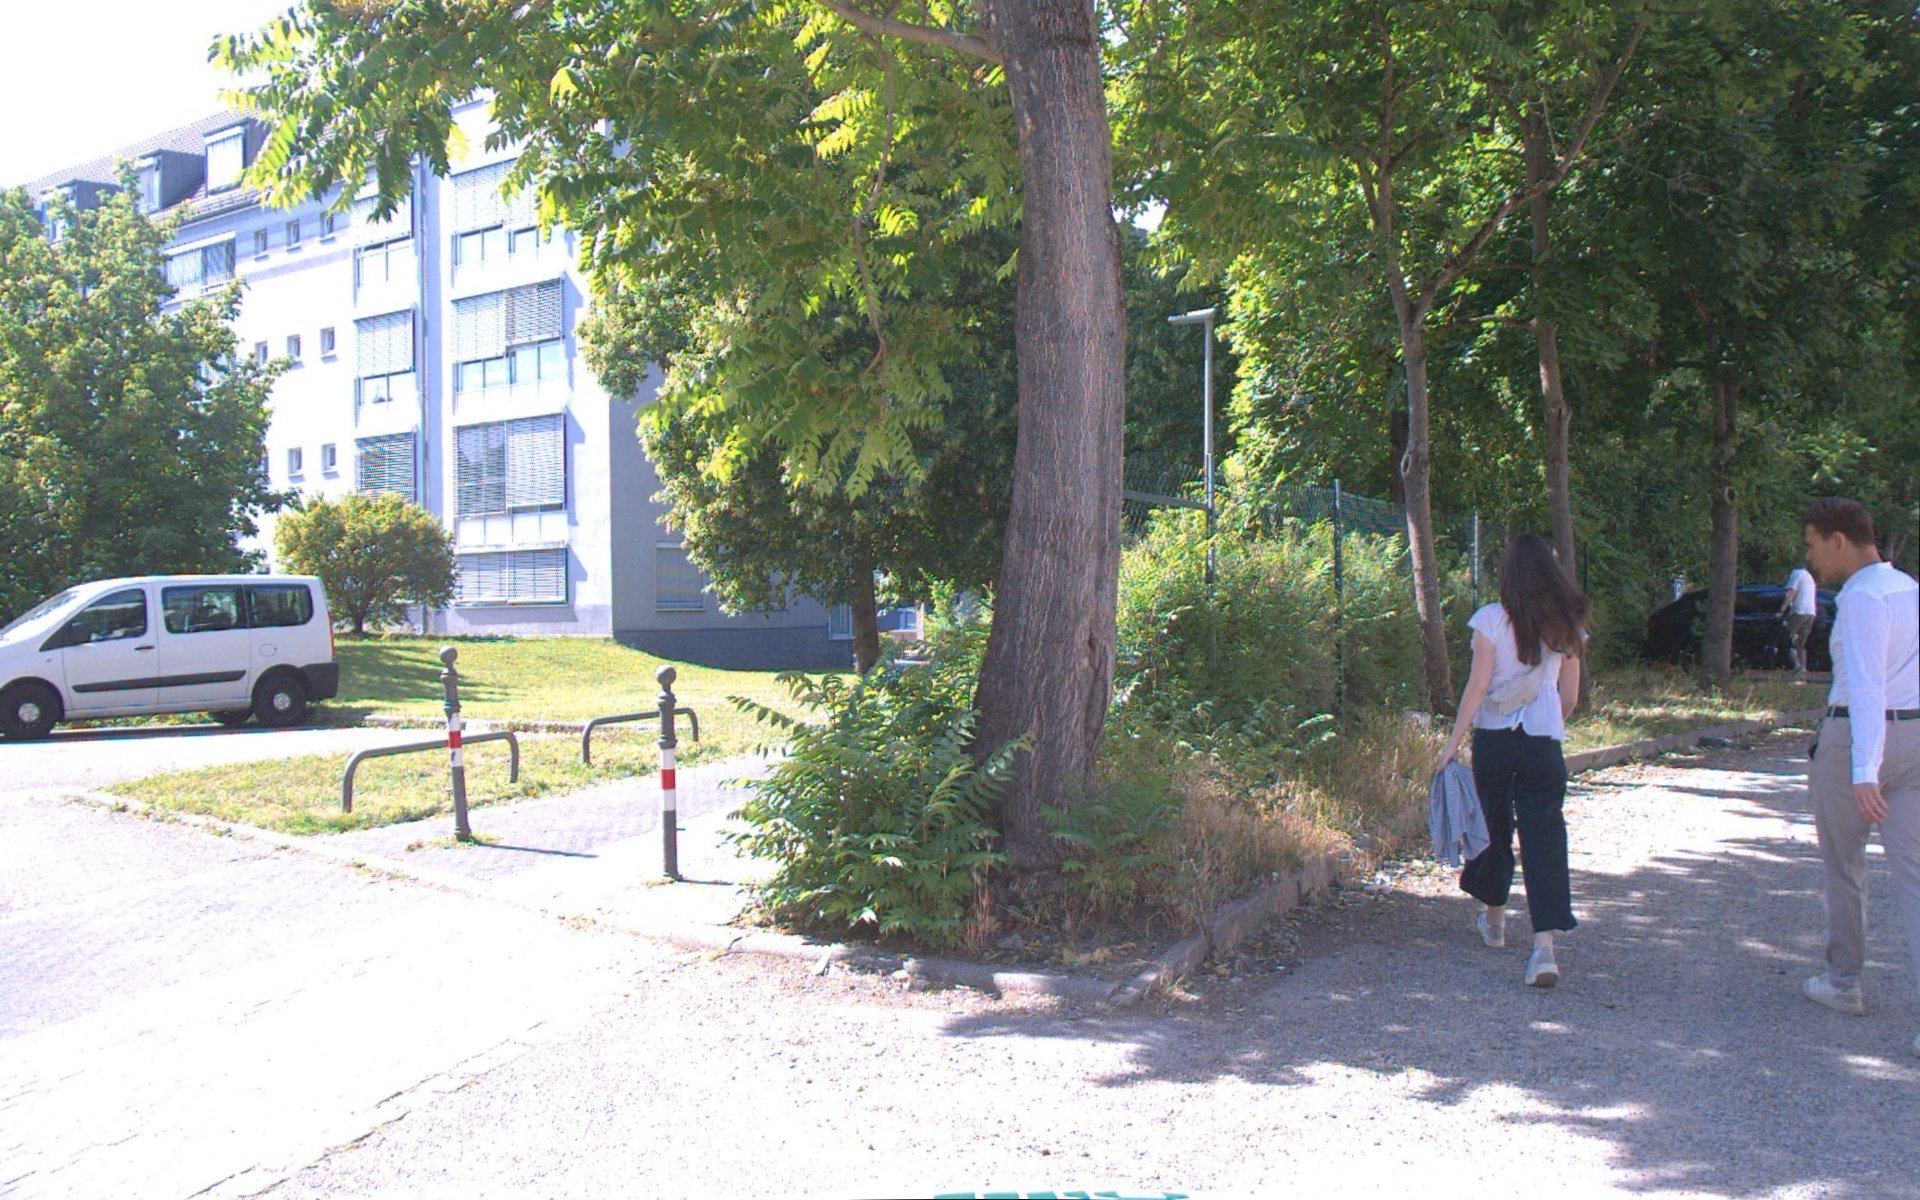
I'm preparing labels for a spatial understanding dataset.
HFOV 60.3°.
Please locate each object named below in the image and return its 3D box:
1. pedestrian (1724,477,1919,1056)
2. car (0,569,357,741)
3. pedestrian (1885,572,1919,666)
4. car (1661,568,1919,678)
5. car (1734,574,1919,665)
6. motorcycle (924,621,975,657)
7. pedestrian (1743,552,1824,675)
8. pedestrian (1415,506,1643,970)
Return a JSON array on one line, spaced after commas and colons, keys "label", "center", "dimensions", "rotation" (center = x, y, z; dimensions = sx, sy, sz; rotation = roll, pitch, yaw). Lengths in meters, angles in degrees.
[{"label": "pedestrian", "center": [3.026, 0.496, 5.420], "dimensions": [0.739, 1.758, 0.855], "rotation": [-1, 1, 10]}, {"label": "car", "center": [-10.443, 0.628, 20.874], "dimensions": [1.966, 1.967, 5.006], "rotation": [-1, 0, 44]}, {"label": "pedestrian", "center": [16.818, 0.323, 29.061], "dimensions": [0.909, 1.623, 0.783], "rotation": [0, 1, 35]}, {"label": "car", "center": [13.612, 0.330, 25.884], "dimensions": [4.575, 1.612, 1.994], "rotation": [0, 1, 34]}, {"label": "car", "center": [17.028, 0.335, 30.691], "dimensions": [4.575, 1.612, 1.994], "rotation": [0, 1, 34]}, {"label": "motorcycle", "center": [-0.382, 1.409, 60.781], "dimensions": [0.619, 1.268, 2.048], "rotation": [-1, 0, 44]}, {"label": "pedestrian", "center": [12.404, 0.194, 24.907], "dimensions": [0.996, 1.812, 0.817], "rotation": [-1, 0, 34]}, {"label": "pedestrian", "center": [2.170, 0.494, 6.396], "dimensions": [0.719, 1.668, 0.782], "rotation": [-1, 1, 12]}]
